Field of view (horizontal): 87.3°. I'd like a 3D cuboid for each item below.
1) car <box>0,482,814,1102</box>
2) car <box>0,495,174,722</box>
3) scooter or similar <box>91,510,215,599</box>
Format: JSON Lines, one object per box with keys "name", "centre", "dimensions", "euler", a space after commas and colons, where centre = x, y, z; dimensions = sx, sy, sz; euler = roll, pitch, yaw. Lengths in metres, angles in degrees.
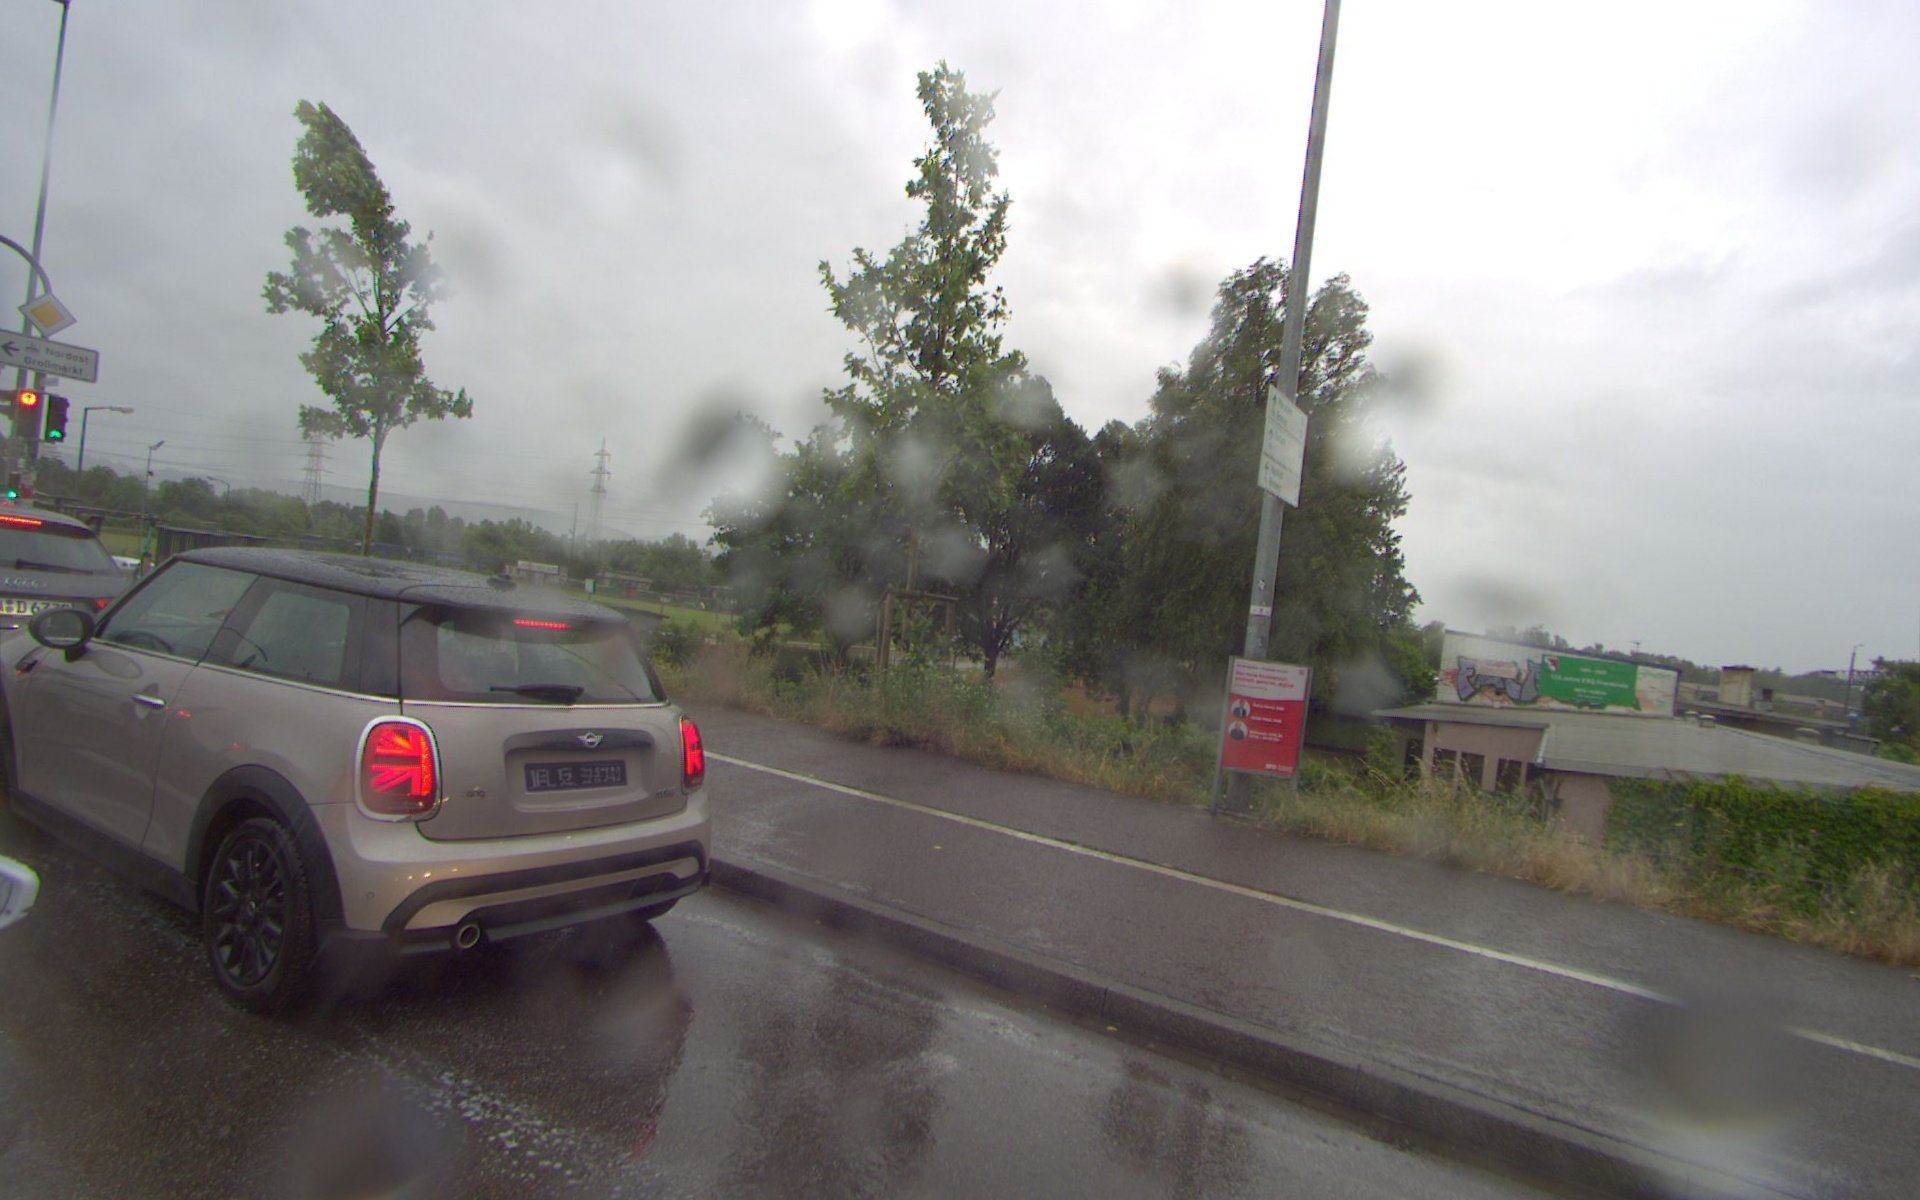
{"name": "car", "centre": [-2.738, 0.472, 4.327], "dimensions": [3.815, 1.524, 1.707], "euler": [6, -4, 32]}
{"name": "car", "centre": [-7.510, -0.112, 7.259], "dimensions": [3.569, 1.383, 1.600], "euler": [7, 0, 30]}
{"name": "scooter or similar", "centre": [-13.878, -0.797, 17.254], "dimensions": [2.971, 1.226, 0.691], "euler": [7, 0, 33]}
